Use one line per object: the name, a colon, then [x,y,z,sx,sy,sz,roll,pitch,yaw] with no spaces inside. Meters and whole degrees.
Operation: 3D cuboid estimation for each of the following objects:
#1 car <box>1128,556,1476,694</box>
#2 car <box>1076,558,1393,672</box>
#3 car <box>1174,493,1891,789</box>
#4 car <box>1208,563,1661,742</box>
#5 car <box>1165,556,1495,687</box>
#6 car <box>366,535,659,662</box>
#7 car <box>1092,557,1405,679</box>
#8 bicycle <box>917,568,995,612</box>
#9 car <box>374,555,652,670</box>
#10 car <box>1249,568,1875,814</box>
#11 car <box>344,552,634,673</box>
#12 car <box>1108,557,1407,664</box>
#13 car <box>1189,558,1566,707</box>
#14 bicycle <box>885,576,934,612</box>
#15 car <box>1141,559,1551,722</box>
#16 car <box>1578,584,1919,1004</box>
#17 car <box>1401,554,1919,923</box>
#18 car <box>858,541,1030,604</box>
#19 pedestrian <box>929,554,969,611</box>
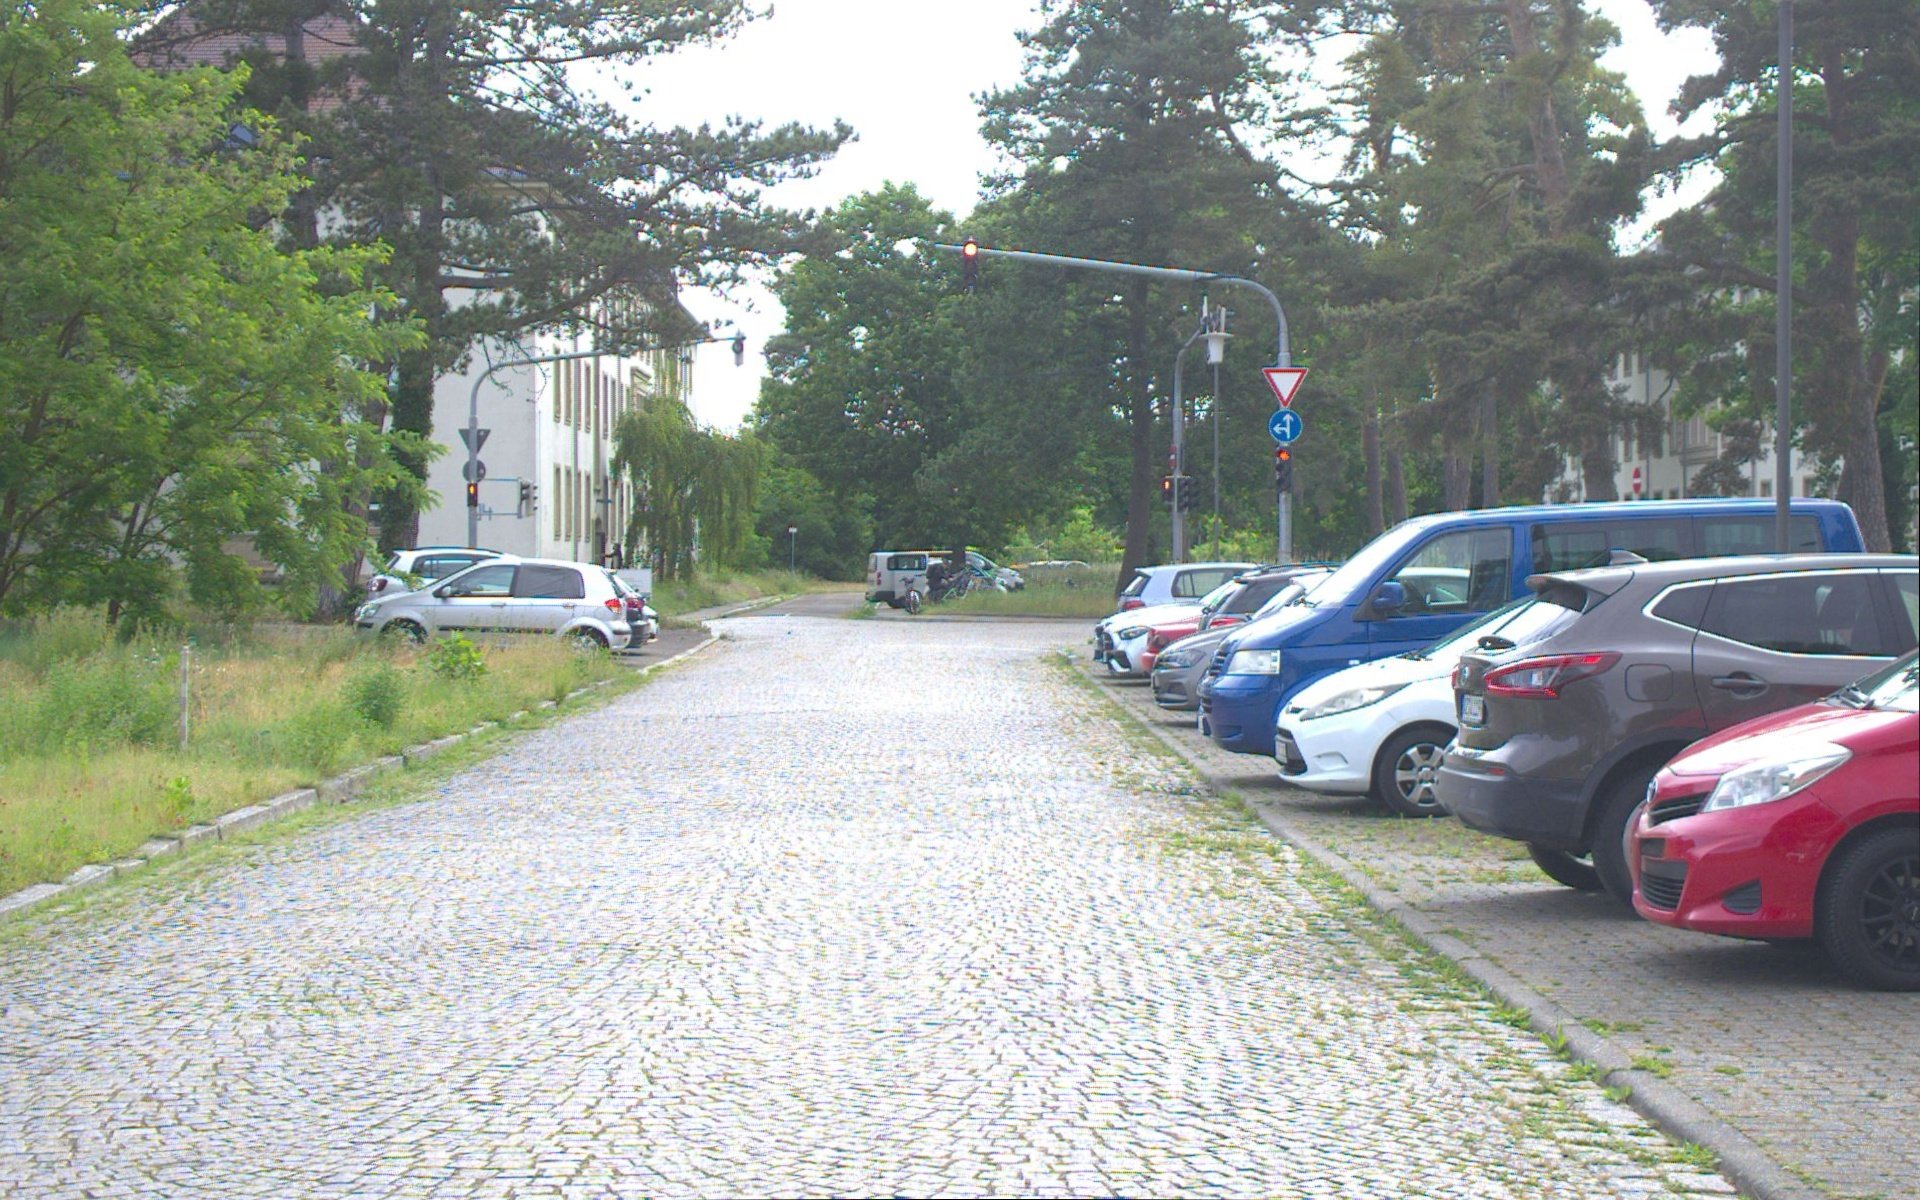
car: [3.788,0.265,38.441,3.671,1.444,1.524,-1,0,-2]
car: [3.631,0.186,45.833,3.967,1.416,1.620,-1,0,-5]
car: [4.020,0.274,24.688,4.754,1.948,1.931,-1,0,-2]
car: [4.093,0.437,29.969,3.671,1.444,1.524,-1,0,-2]
car: [4.350,0.245,40.727,3.671,1.444,1.524,-1,0,-2]
car: [-6.827,-0.025,52.783,4.262,1.834,1.744,-1,0,-1]
car: [3.580,0.215,42.978,3.671,1.416,1.524,-1,0,-5]
bicycle: [-0.116,-0.296,97.401,2.136,1.210,0.622,1,0,-5]
car: [-6.441,0.172,49.798,3.821,1.567,1.564,-1,0,-1]
car: [3.806,0.556,22.097,3.671,1.444,1.615,-1,0,-3]
car: [-6.454,0.162,47.381,3.821,1.567,1.564,-1,0,-4]
car: [4.170,0.138,48.485,3.967,1.416,1.620,-1,0,-5]
car: [4.301,0.321,35.737,3.671,1.444,1.524,-1,0,-2]
bicycle: [-1.374,-0.172,93.329,0.620,0.942,1.663,1,1,-28]
car: [3.636,0.370,32.746,3.671,1.444,1.524,-1,0,-2]
car: [4.419,0.659,13.063,3.792,1.455,1.751,-1,0,0]
car: [4.186,0.567,15.721,4.028,1.547,1.751,-1,0,-3]
car: [-0.560,-0.923,115.306,5.444,2.007,2.269,1,1,-9]
pedestrian: [-0.318,-0.507,97.741,1.033,1.608,0.757,1,0,-5]
